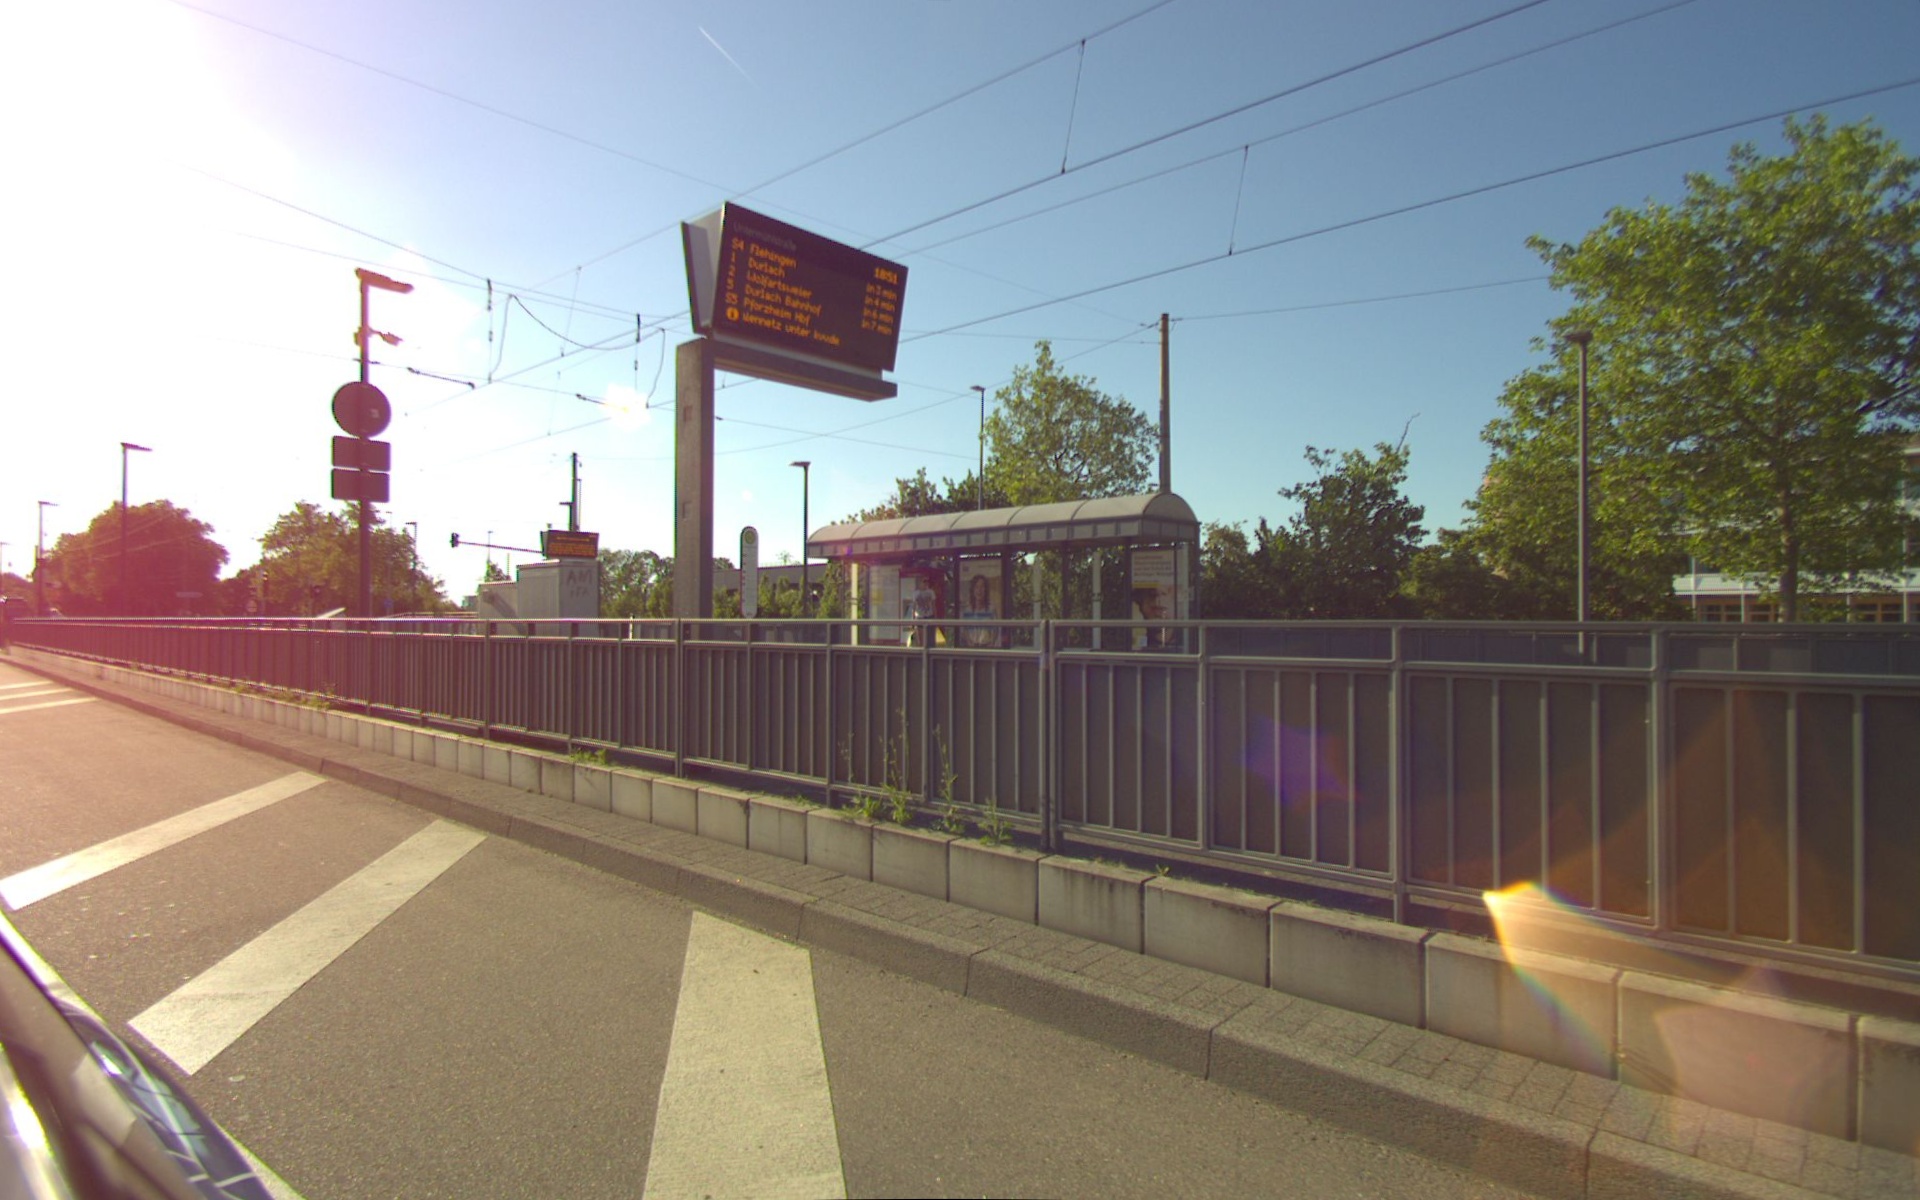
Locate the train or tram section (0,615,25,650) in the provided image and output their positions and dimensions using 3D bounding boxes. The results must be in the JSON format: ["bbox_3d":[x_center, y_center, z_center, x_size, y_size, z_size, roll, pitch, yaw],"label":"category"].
[{"bbox_3d":[-112.981,3.847,119.473,12.111,3.977,2.852,-1,-2,43],"label":"train or tram section"}]

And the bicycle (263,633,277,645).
[{"bbox_3d":[-71.106,4.001,104.296,2.528,1.136,0.624,-1,-2,43],"label":"bicycle"}]

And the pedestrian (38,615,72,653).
[{"bbox_3d":[-40.272,1.501,45.051,0.984,1.657,0.882,-1,-2,33],"label":"pedestrian"}]

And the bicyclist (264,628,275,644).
[{"bbox_3d":[-71.114,3.693,104.249,0.835,1.629,0.760,-1,-2,43],"label":"bicyclist"}]

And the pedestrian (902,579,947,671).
[{"bbox_3d":[-0.694,0.494,19.878,0.696,1.770,0.584,-1,-1,21],"label":"pedestrian"}]
